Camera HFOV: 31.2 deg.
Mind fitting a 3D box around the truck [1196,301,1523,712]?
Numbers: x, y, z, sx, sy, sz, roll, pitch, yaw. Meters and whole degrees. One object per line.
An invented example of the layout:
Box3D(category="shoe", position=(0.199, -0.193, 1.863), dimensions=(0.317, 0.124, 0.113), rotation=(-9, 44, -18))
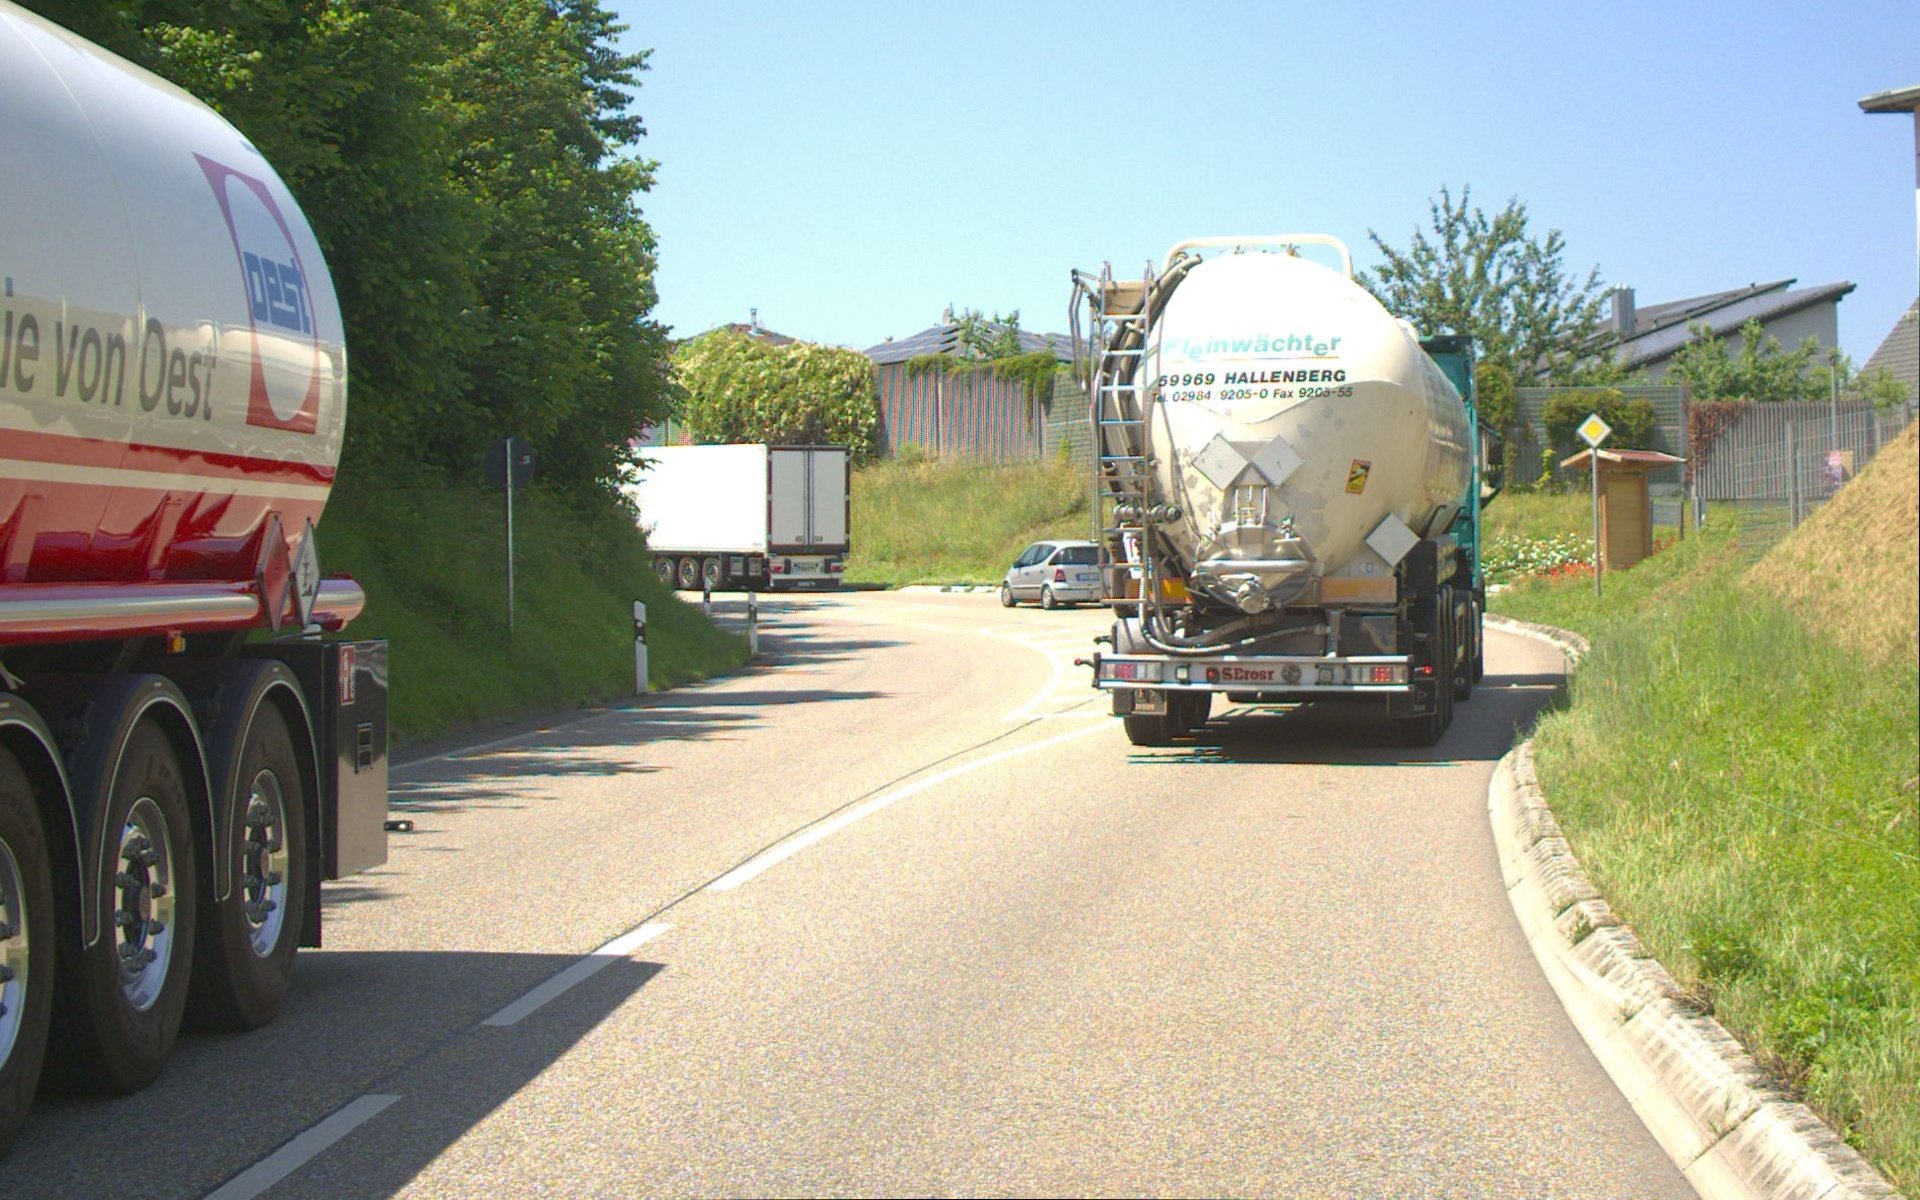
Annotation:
Box3D(category="truck", position=(4.411, -0.901, 36.607), dimensions=(2.728, 3.916, 7.259), rotation=(1, 0, 12))

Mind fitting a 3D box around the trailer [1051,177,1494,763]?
Box3D(category="trailer", position=(3.141, -0.991, 30.594), dimensions=(2.662, 4.174, 11.898), rotation=(1, 1, 11))

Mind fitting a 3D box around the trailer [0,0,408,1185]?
Box3D(category="trailer", position=(-3.621, -0.295, 7.339), dimensions=(2.633, 3.361, 11.142), rotation=(0, 0, 2))

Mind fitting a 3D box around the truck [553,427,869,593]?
Box3D(category="truck", position=(-7.198, -2.602, 96.990), dimensions=(3.190, 4.295, 11.799), rotation=(2, 1, -34))

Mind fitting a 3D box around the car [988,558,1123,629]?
Box3D(category="car", position=(2.135, -0.164, 77.808), dimensions=(1.647, 1.504, 3.639), rotation=(3, 0, -22))
